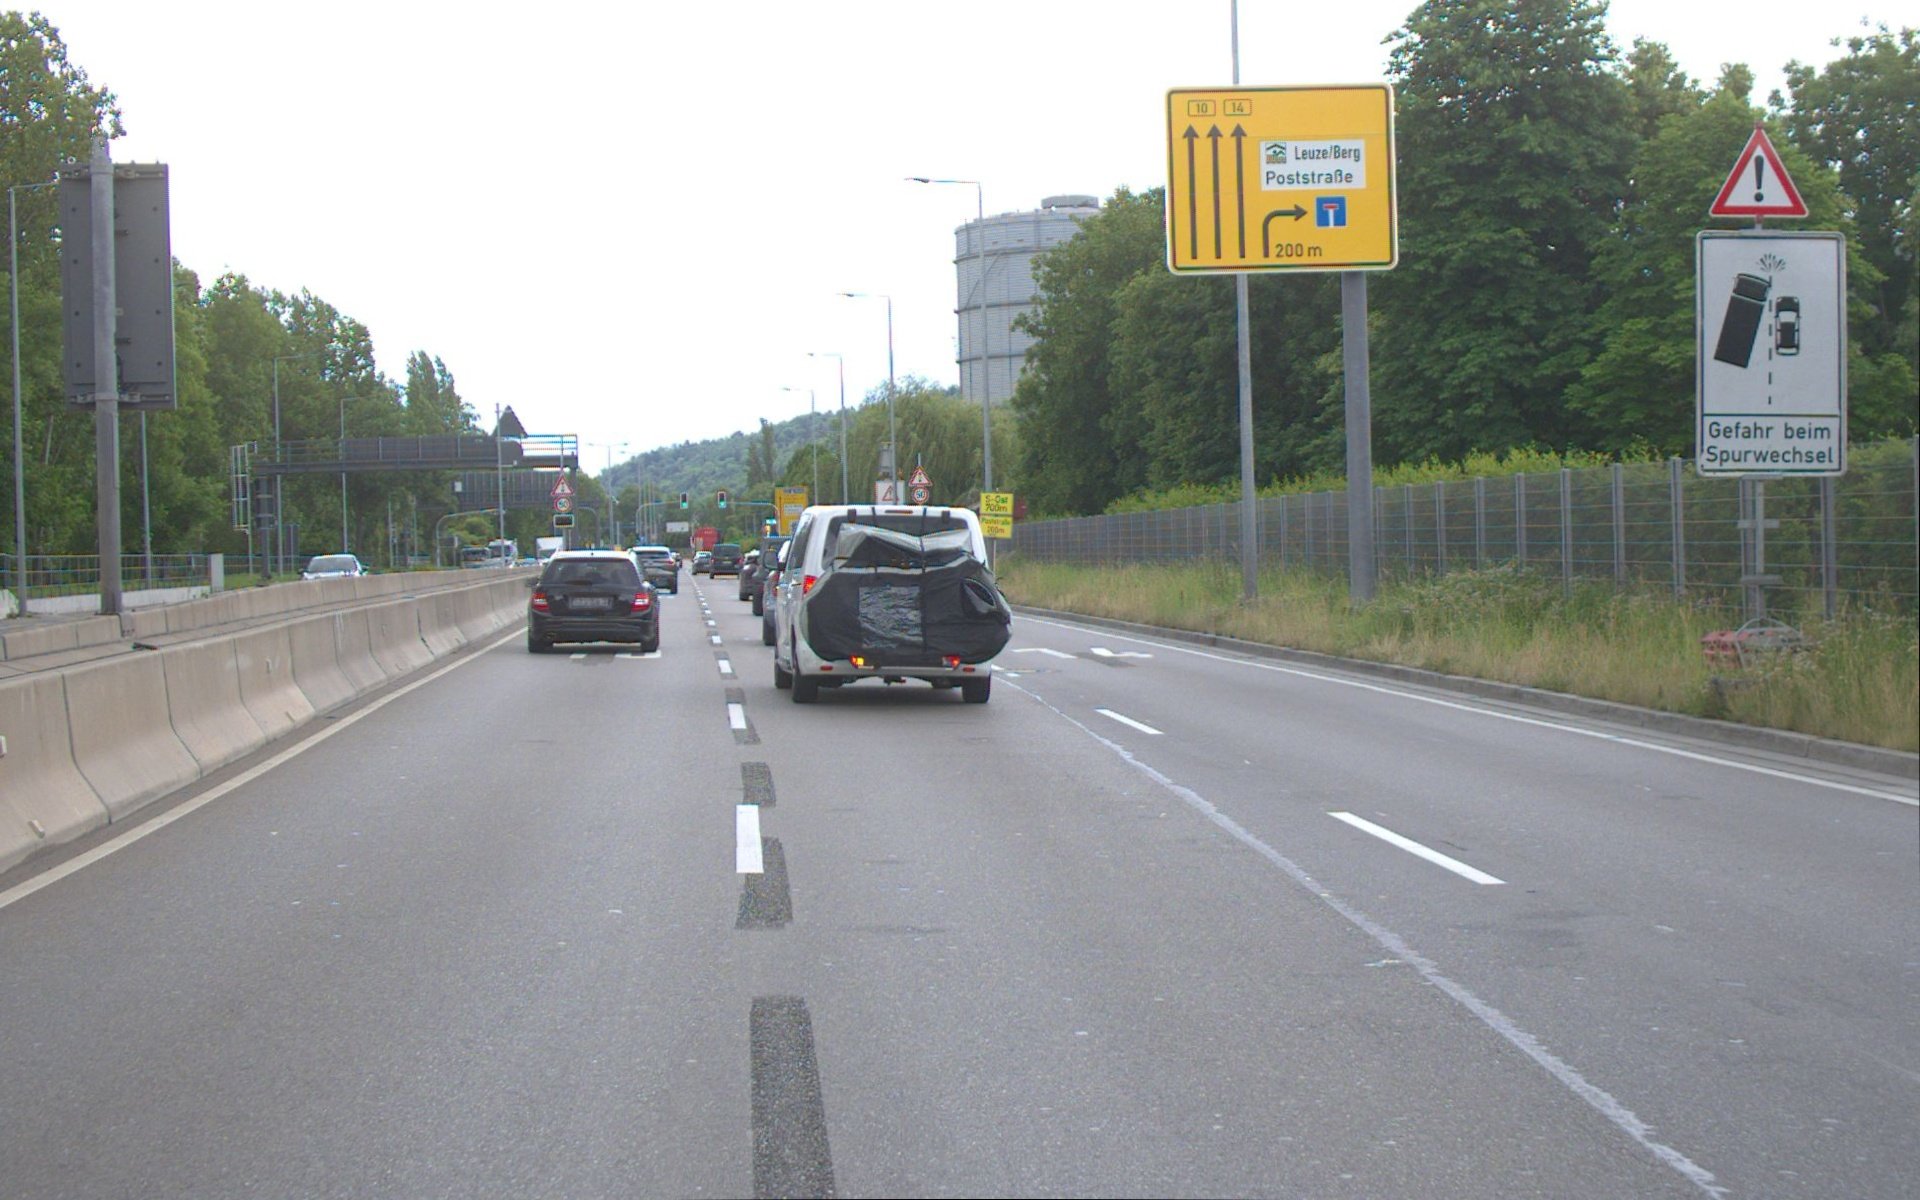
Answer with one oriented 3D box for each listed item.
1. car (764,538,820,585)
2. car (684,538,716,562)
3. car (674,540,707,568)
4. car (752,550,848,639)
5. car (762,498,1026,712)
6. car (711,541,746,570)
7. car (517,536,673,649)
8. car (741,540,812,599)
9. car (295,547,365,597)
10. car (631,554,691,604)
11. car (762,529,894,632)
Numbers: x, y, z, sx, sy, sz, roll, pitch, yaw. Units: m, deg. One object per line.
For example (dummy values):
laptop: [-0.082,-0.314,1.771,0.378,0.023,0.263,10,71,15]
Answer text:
car: [-6.064,-1.409,124.456,1.993,1.663,4.001,0,1,-3]
car: [-17.884,-3.427,236.390,1.993,1.648,4.001,0,1,-7]
car: [-16.539,-2.824,210.884,1.993,1.648,4.001,0,1,-5]
car: [-3.495,-0.144,74.538,1.993,1.853,4.001,-1,1,-4]
car: [-0.739,-0.011,33.225,1.992,1.852,5.642,1,1,-6]
car: [-13.374,-2.577,198.539,1.993,1.648,4.001,0,1,-5]
car: [-5.031,-0.136,47.869,1.815,1.429,4.066,-2,1,-2]
car: [-5.251,-0.886,98.443,1.993,1.663,4.001,0,1,-3]
car: [-17.663,-0.800,96.554,1.732,1.369,3.617,-1,1,-7]
car: [-10.194,-0.717,117.512,1.993,1.667,4.001,1,0,-5]
car: [-2.022,-0.316,52.106,1.920,1.483,4.066,0,1,-3]
